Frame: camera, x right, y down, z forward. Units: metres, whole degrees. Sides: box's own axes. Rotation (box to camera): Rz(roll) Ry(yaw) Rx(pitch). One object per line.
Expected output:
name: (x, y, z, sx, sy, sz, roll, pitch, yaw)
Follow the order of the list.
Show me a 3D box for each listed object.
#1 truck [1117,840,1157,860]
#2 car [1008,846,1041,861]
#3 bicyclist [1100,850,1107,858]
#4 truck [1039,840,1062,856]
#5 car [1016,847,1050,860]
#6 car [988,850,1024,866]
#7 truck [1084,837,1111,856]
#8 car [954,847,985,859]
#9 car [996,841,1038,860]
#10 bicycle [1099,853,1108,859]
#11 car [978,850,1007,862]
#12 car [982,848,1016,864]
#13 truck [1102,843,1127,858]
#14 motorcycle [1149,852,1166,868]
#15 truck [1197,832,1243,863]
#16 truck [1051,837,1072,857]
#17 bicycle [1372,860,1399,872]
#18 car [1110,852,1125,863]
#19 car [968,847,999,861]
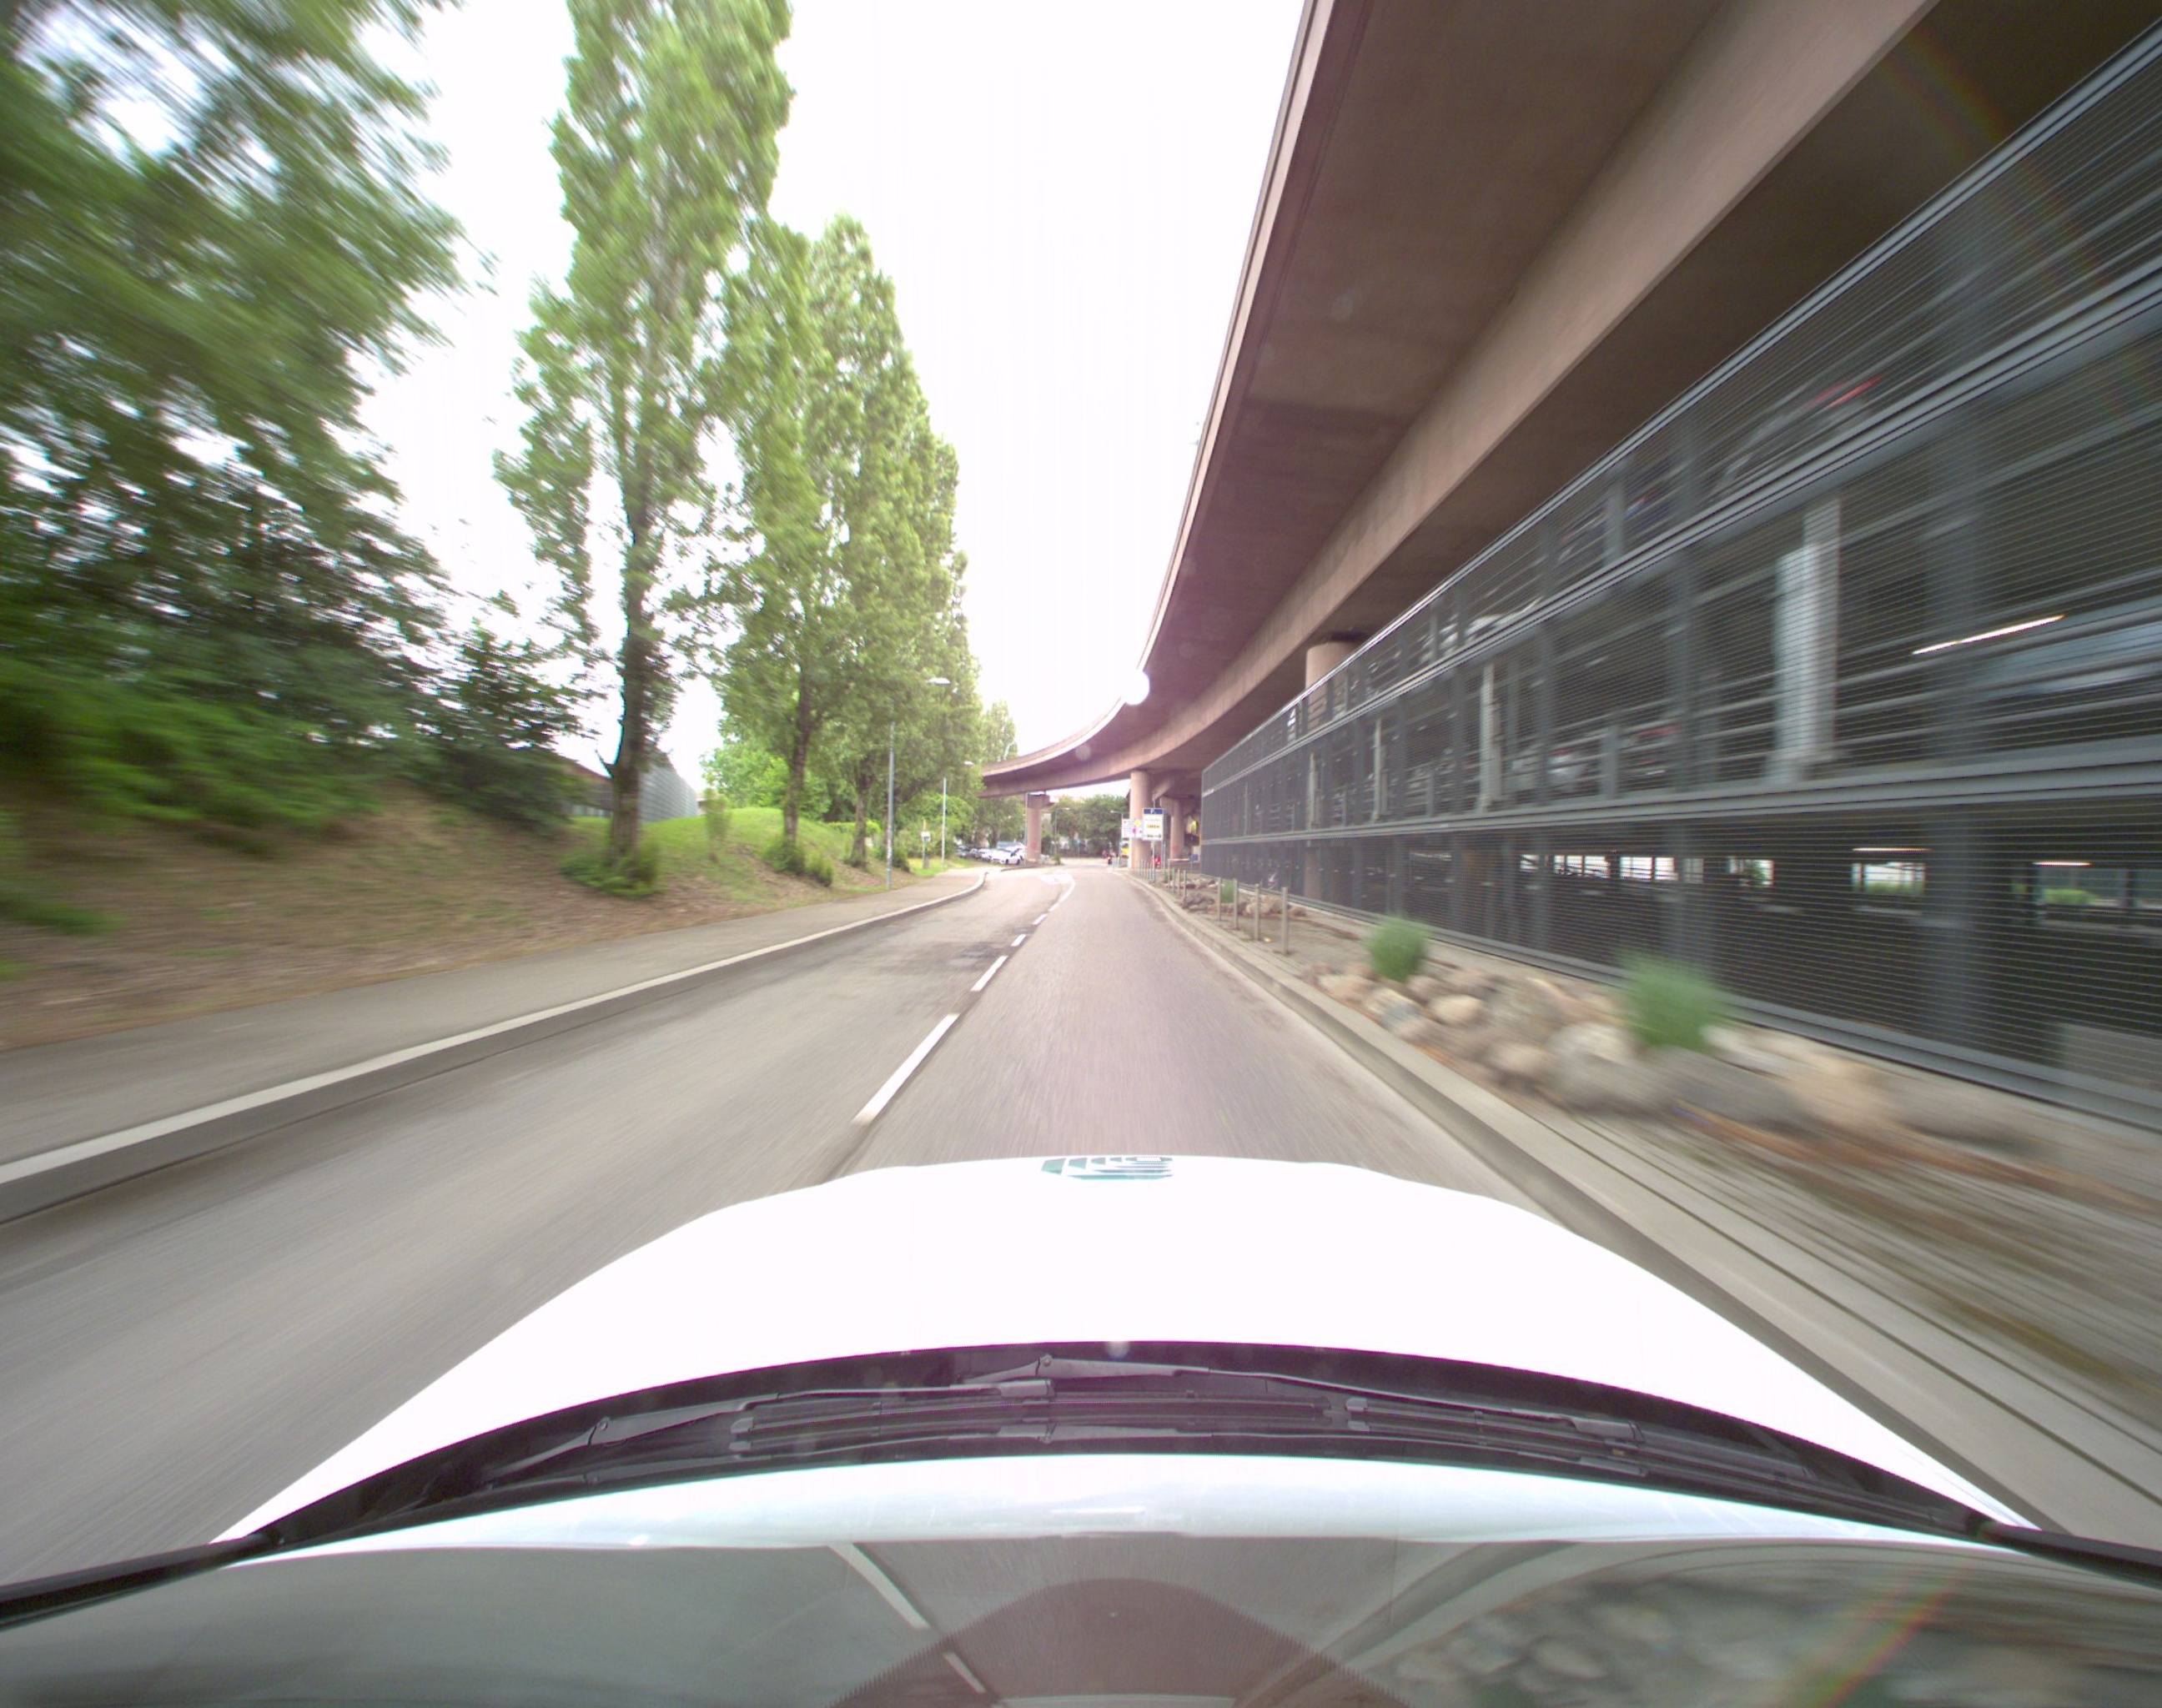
truck: (10.636, -0.842, 154.200, 2.900, 3.480, 8.295, 5, 5, 44)
car: (-8.506, -0.112, 122.731, 4.529, 2.111, 1.855, 2, 0, 9)
bicyclist: (4.208, -0.020, 151.861, 0.801, 1.405, 1.056, -1, 0, -30)
truck: (-7.270, -1.392, 191.777, 3.067, 3.618, 7.860, 0, 2, -22)
car: (-6.862, -0.054, 116.827, 4.350, 1.605, 1.962, 3, 1, 14)
car: (-8.413, 0.436, 92.199, 1.977, 1.480, 4.853, 5, -1, 22)
truck: (3.411, -1.577, 171.304, 3.076, 3.867, 7.996, 0, 2, -20)
car: (-15.432, -0.194, 112.730, 1.840, 1.487, 4.917, 3, 2, 25)
car: (-9.889, -0.578, 125.560, 6.150, 2.724, 2.370, 2, 0, 2)
bicycle: (4.190, 0.398, 151.907, 0.807, 1.097, 2.110, -1, 0, -30)
car: (-10.822, 0.254, 99.801, 1.771, 1.454, 3.768, 1, 0, 24)
car: (-9.627, 0.220, 96.092, 1.977, 1.582, 4.423, 5, 0, 22)
truck: (7.073, -0.841, 172.437, 2.925, 2.898, 6.516, 0, 2, -20)
motorcycle: (6.667, 0.513, 71.161, 0.797, 1.366, 2.118, 0, 1, -16)
truck: (23.085, -0.981, 135.041, 3.108, 4.917, 8.769, 1, 0, 43)
truck: (-4.718, -1.726, 195.579, 3.208, 4.779, 8.009, 0, 2, -15)
bicycle: (25.779, 1.011, 68.915, 2.046, 1.023, 0.396, 1, 1, 6)
car: (5.521, 0.516, 124.012, 1.987, 1.679, 4.560, 1, 0, 0)
car: (-12.262, 0.010, 102.499, 1.840, 1.691, 4.187, 1, 0, 25)
